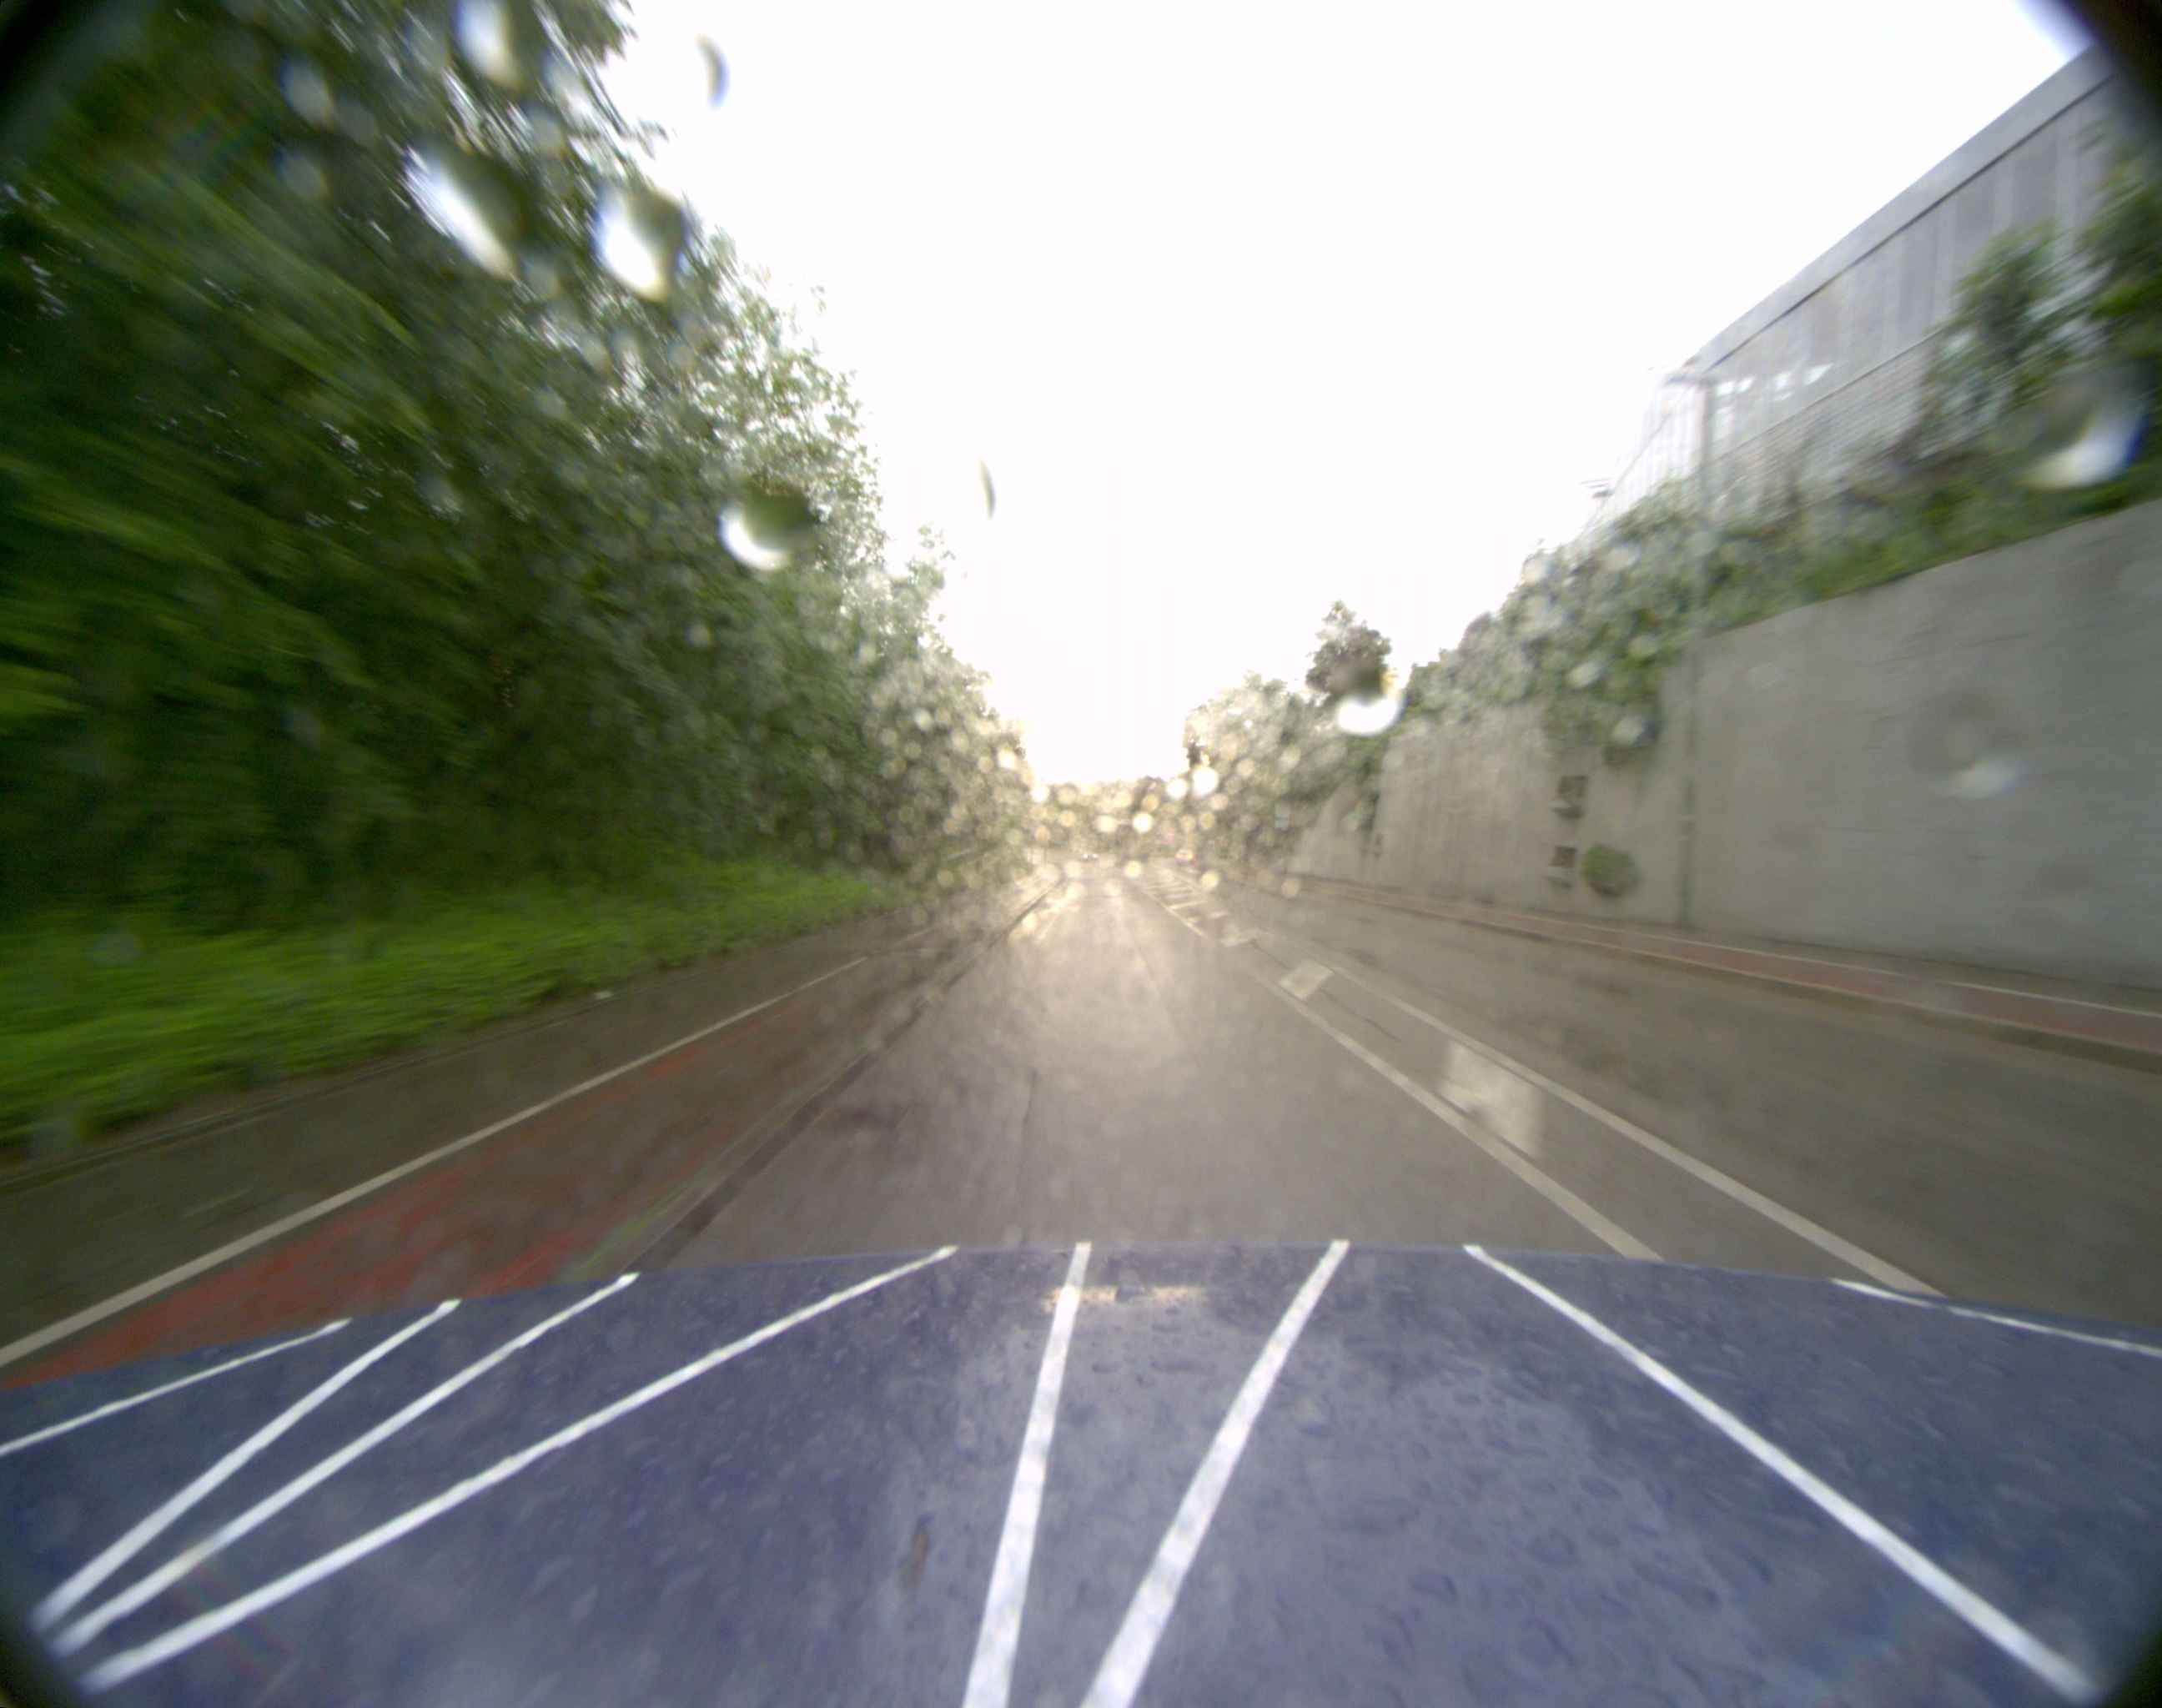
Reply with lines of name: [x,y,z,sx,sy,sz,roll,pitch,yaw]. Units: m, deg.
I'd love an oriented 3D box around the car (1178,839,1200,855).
car: [10.831,-0.701,75.909,1.514,1.440,3.820,-2,1,17]
